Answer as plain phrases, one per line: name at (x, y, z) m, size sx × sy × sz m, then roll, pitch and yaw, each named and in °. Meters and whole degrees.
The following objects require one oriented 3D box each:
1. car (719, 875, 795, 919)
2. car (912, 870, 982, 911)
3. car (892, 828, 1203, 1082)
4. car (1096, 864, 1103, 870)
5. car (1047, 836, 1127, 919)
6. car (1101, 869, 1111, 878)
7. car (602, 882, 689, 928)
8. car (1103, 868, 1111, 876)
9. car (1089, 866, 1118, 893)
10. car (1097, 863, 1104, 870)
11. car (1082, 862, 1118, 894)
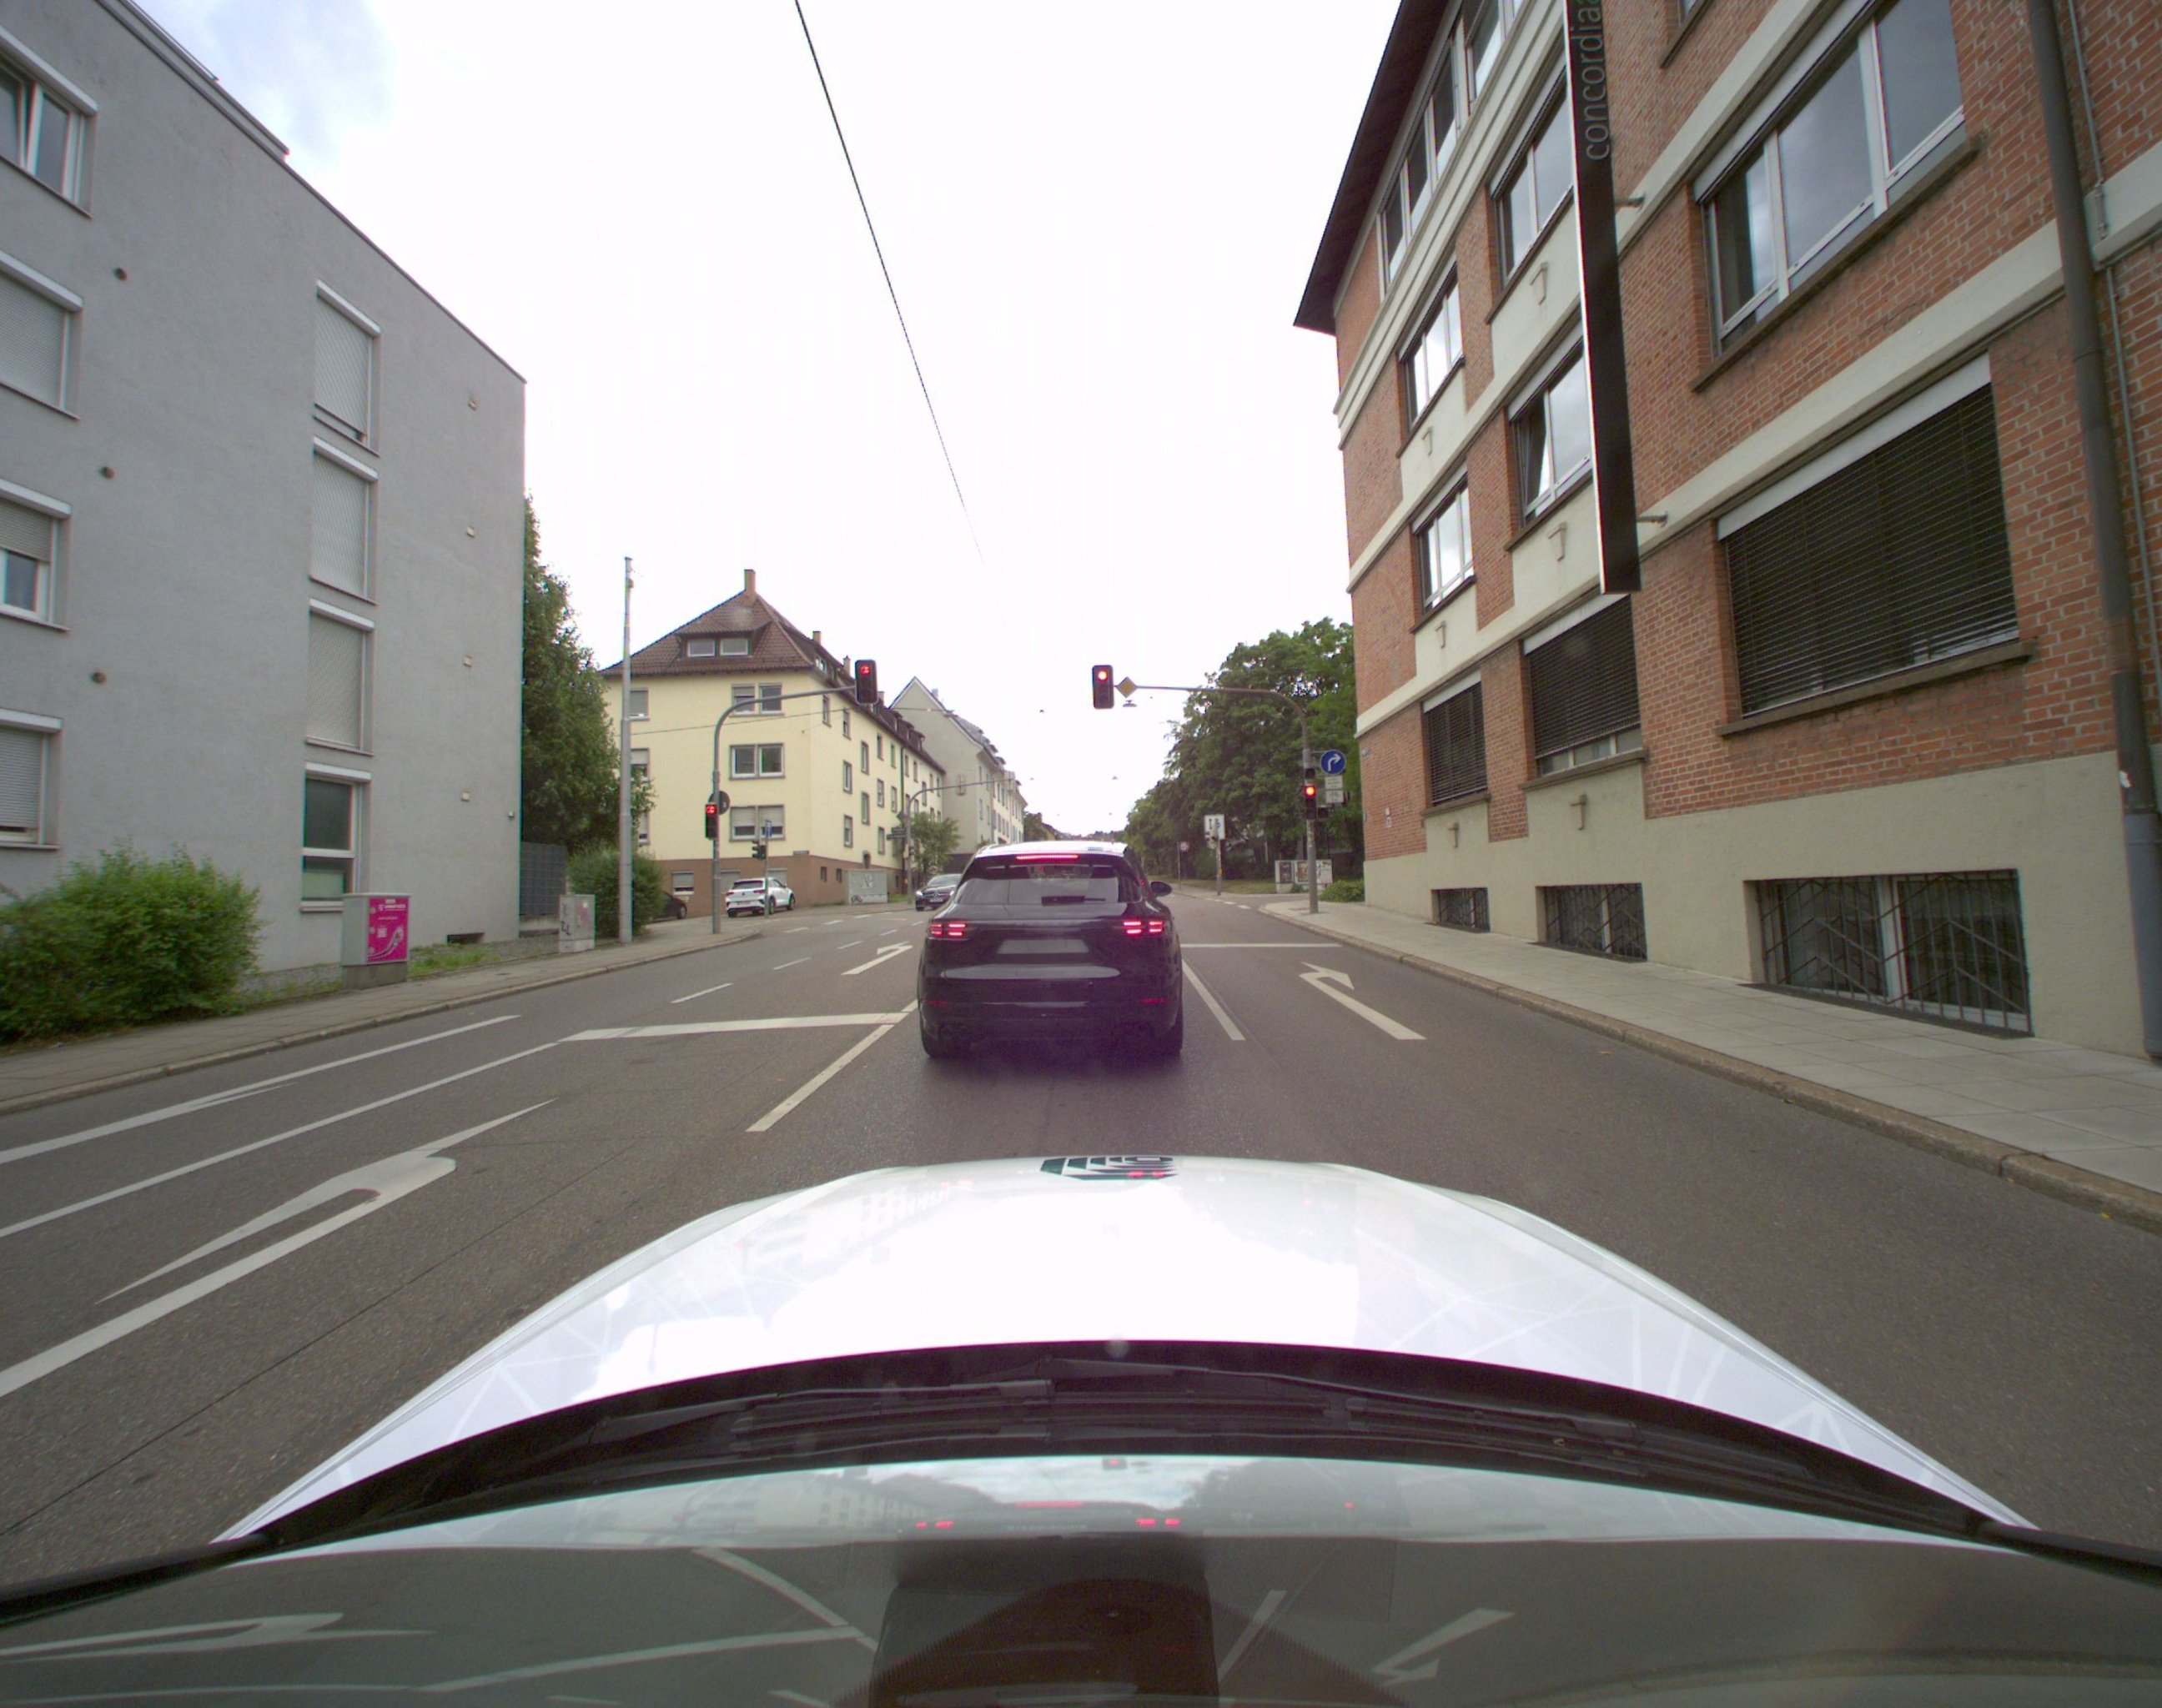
car at (-13.527, 1.745, 34.183) m, size 1.686 × 1.555 × 3.763 m, roll -4°, pitch 0°, yaw -2°
car at (-5.309, 1.416, 32.854) m, size 1.778 × 1.418 × 4.672 m, roll -4°, pitch -1°, yaw 2°
car at (-0.145, 0.668, 7.494) m, size 2.040 × 1.666 × 4.269 m, roll 0°, pitch 0°, yaw 2°
car at (4.646, 3.242, 203.204) m, size 1.820 × 1.605 × 4.137 m, roll 0°, pitch 0°, yaw 2°
car at (0.230, 0.576, 22.171) m, size 1.957 × 2.042 × 4.137 m, roll 0°, pitch 0°, yaw 2°
car at (4.959, 3.851, 161.857) m, size 1.820 × 1.605 × 4.137 m, roll 0°, pitch 0°, yaw 2°
car at (-18.496, 2.108, 34.788) m, size 1.686 × 1.608 × 3.763 m, roll -4°, pitch 0°, yaw -2°
car at (5.857, 4.081, 182.682) m, size 1.820 × 1.605 × 4.137 m, roll 0°, pitch 0°, yaw 2°
car at (1.467, 1.621, 52.788) m, size 1.820 × 1.605 × 3.860 m, roll 0°, pitch 0°, yaw 2°
car at (5.064, 3.216, 210.526) m, size 1.820 × 1.605 × 4.137 m, roll 0°, pitch 0°, yaw 2°
car at (1.053, 1.243, 44.080) m, size 1.820 × 1.605 × 4.137 m, roll 0°, pitch 0°, yaw 2°
